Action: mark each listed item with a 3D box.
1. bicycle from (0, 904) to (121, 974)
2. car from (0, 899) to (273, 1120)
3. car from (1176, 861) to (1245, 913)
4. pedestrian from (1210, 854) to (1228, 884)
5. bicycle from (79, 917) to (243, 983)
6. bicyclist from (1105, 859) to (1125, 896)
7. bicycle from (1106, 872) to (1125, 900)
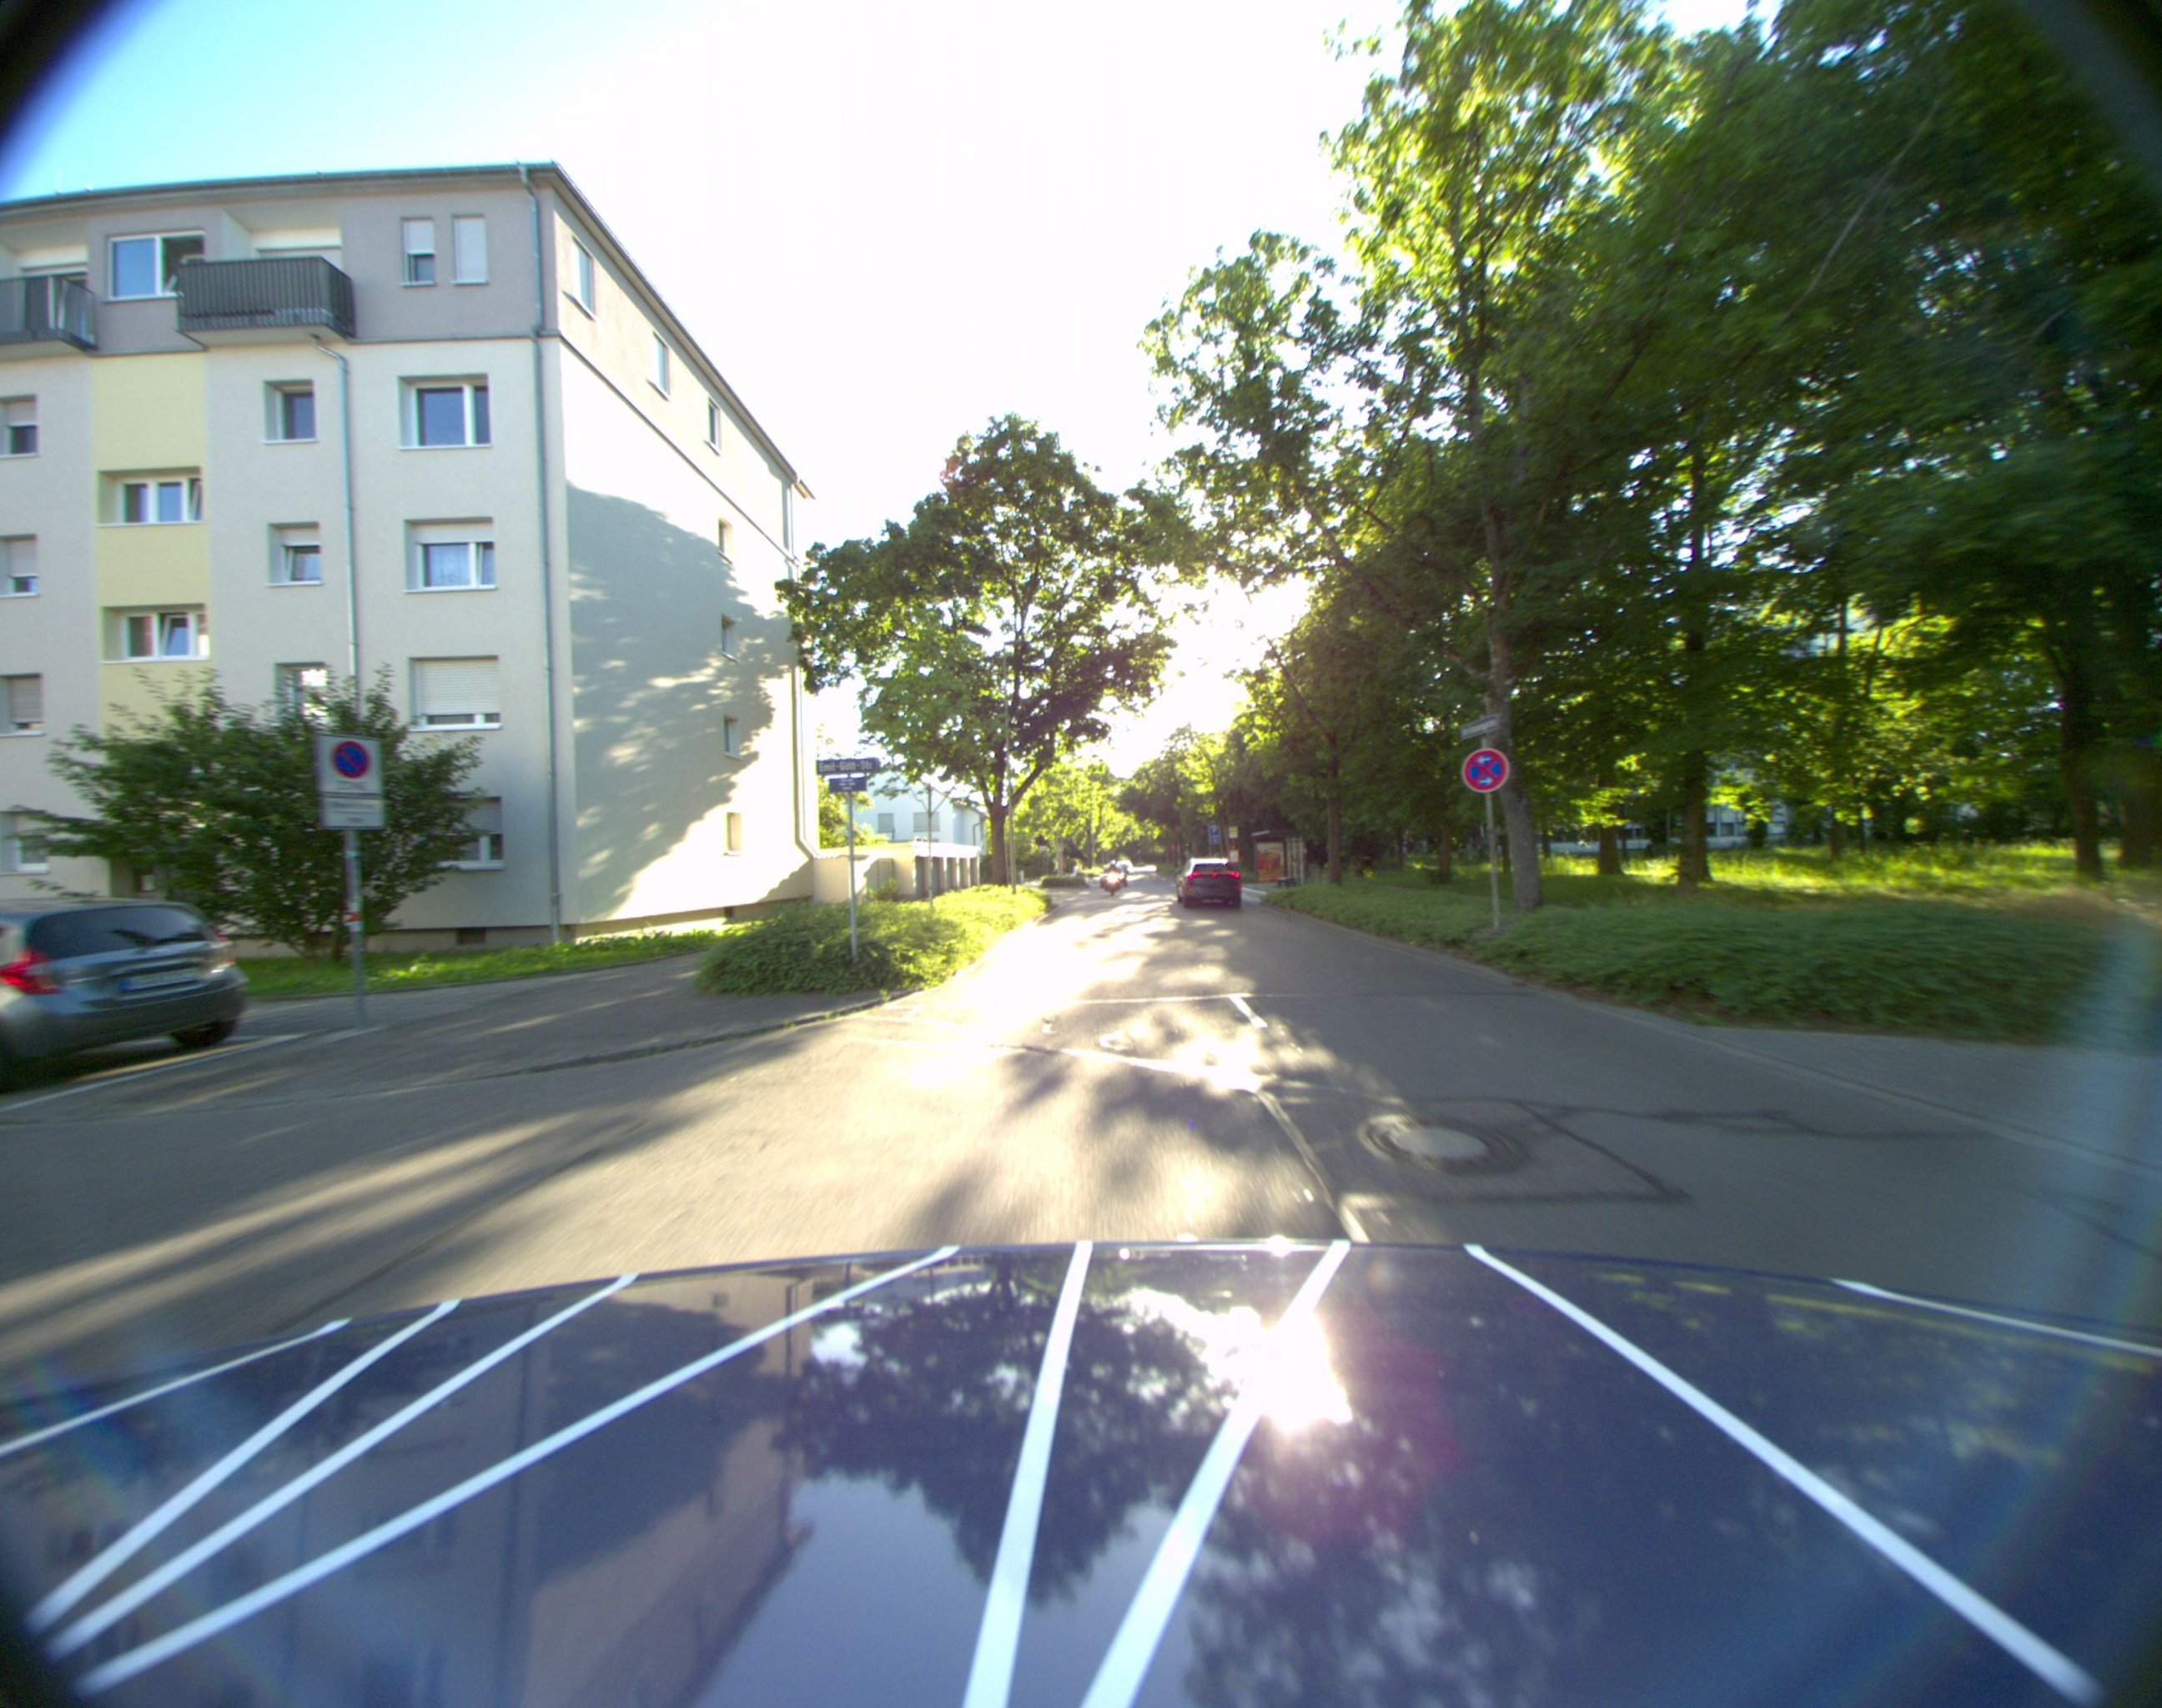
[{"bbox_3d":[-16.029,1.304,11.584,1.975,0.954,0.545,-2,1,-2],"label":"bicycle"},{"bbox_3d":[-9.950,1.304,6.532,4.051,1.506,1.726,-3,2,0],"label":"car"},{"bbox_3d":[4.263,1.032,25.620,1.848,1.569,4.337,0,0,4],"label":"car"},{"bbox_3d":[8.451,0.923,46.541,0.905,1.810,0.720,-3,0,1],"label":"pedestrian"},{"bbox_3d":[-15.417,1.598,12.755,1.975,0.954,0.545,-2,1,-2],"label":"bicycle"},{"bbox_3d":[1.571,1.086,35.356,0.819,1.635,0.745,-4,1,3],"label":"bicyclist"},{"bbox_3d":[1.610,1.477,35.459,0.829,1.182,2.302,-3,0,3],"label":"bicycle"}]
